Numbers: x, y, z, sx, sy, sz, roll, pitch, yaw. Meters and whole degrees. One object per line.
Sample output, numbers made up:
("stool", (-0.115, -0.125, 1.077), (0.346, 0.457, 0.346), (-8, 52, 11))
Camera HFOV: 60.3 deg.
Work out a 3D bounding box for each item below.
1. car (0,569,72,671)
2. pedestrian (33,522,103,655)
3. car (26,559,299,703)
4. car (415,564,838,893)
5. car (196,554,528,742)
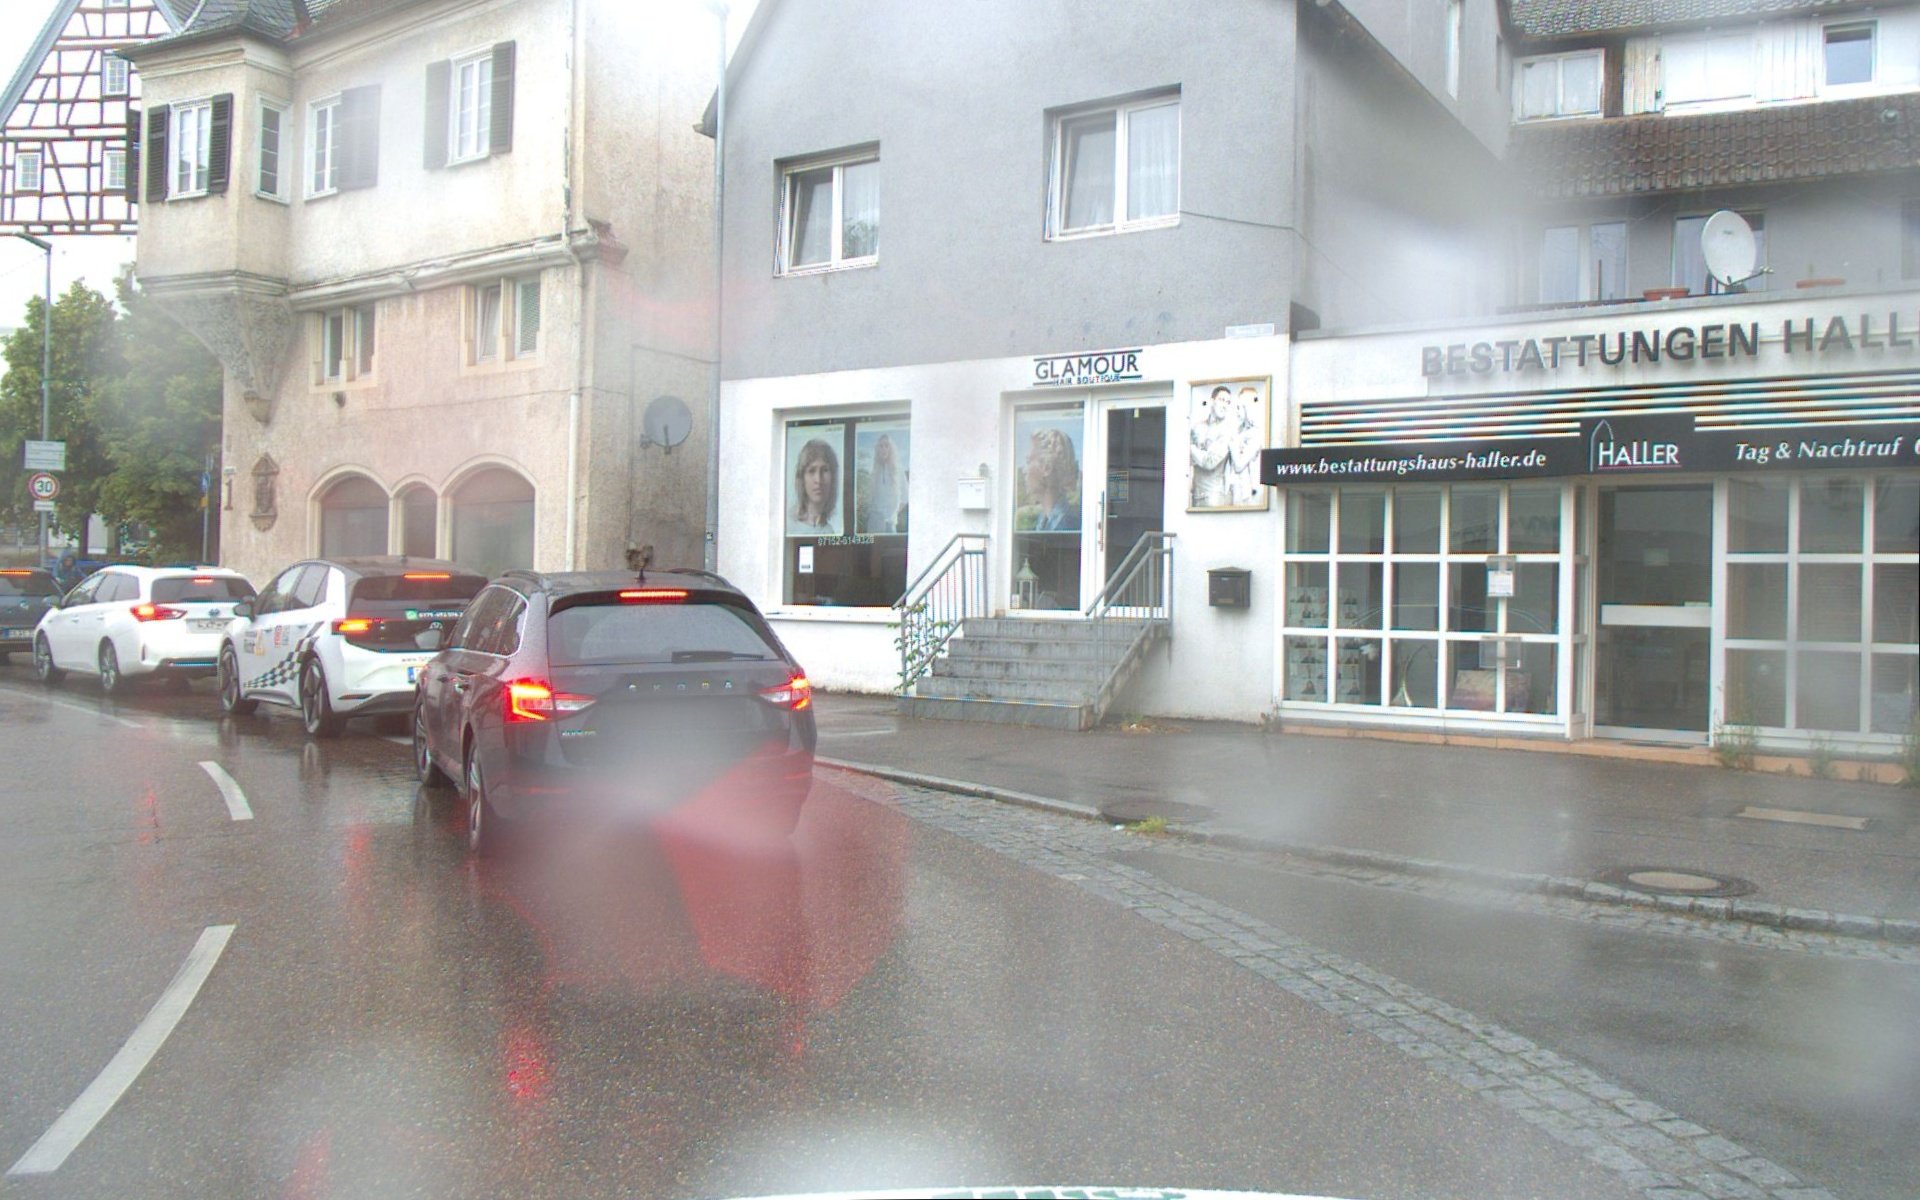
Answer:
("car", (-14.910, 0.252, 24.961), (3.701, 1.385, 1.514), (2, 3, 42))
("pedestrian", (-16.267, -0.213, 30.160), (0.861, 2.367, 1.211), (0, 0, -43))
("car", (-9.746, 0.286, 20.072), (1.778, 1.490, 4.096), (-1, 3, -45))
("car", (-2.214, 0.547, 9.952), (1.709, 1.475, 4.212), (0, 2, -23))
("car", (-5.825, 0.352, 15.812), (1.777, 1.543, 4.183), (-1, 1, -38))
